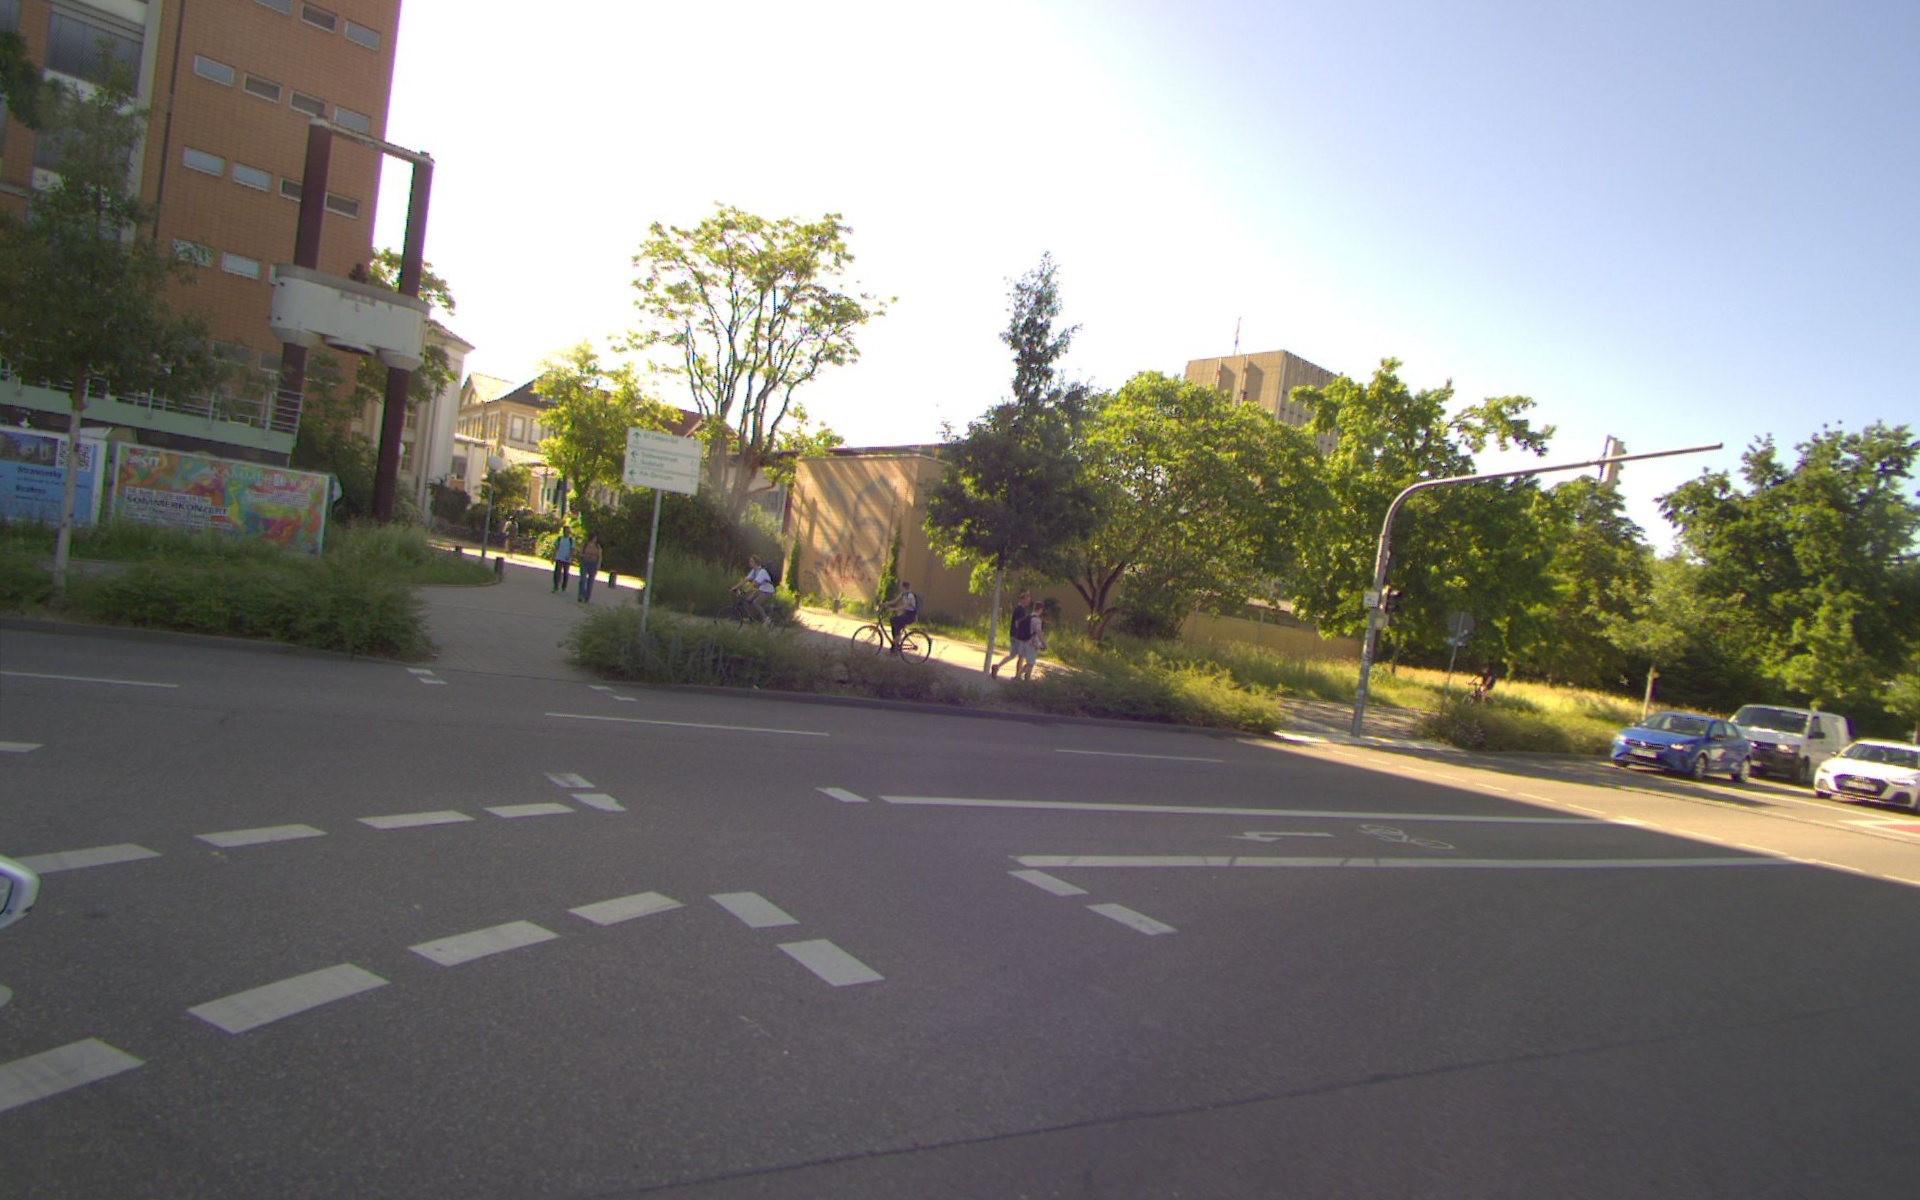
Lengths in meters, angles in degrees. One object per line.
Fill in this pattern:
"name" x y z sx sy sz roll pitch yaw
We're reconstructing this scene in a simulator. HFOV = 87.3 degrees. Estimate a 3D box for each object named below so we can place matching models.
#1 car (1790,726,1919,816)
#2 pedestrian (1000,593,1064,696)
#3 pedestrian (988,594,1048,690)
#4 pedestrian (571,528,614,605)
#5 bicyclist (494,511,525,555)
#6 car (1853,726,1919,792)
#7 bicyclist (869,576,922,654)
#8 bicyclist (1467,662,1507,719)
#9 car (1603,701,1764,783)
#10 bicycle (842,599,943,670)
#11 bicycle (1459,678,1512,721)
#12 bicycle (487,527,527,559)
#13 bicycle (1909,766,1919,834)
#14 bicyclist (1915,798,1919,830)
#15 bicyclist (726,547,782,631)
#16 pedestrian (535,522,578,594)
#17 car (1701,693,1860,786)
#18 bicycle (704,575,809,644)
"car" 20.575 3.804 22.273 3.956 1.487 1.984 8 0 -30
"pedestrian" 1.388 0.847 19.462 0.726 1.837 0.728 9 0 -20
"pedestrian" 1.170 0.841 20.415 0.726 1.802 0.728 9 0 -20
"pedestrian" -8.541 -0.785 23.382 0.669 1.662 0.732 9 0 -21
"bicyclist" -19.601 -2.897 43.751 0.709 1.757 0.977 8 1 0
"car" 31.782 5.385 33.676 4.326 1.820 1.919 8 -1 -38
"bicyclist" -1.329 0.302 20.633 0.766 1.463 0.640 7 3 -20
"bicyclist" 16.687 2.863 31.846 0.770 1.666 0.636 7 2 -38
"car" 16.932 3.335 23.485 3.963 1.459 1.689 8 -1 -34
"bicycle" -1.383 0.704 20.659 1.844 1.180 0.639 8 3 -20
"bicycle" 16.644 3.152 31.861 1.855 1.179 0.636 8 1 -38
"bicycle" -19.661 -2.474 43.687 0.734 1.179 1.869 8 1 0
"bicycle" 16.927 3.410 17.068 1.853 1.180 0.741 6 2 -36
"bicyclist" 16.887 3.116 16.997 0.968 1.707 0.739 5 3 -36
"bicyclist" -4.309 -0.229 21.029 0.823 1.617 0.626 6 5 -29
"pedestrian" -10.085 -1.043 25.152 0.667 1.662 0.734 9 0 -14
"car" 22.349 3.819 27.356 4.713 1.976 1.921 8 -1 -34
"bicycle" -4.272 0.211 21.124 1.935 1.180 0.638 7 4 -29
